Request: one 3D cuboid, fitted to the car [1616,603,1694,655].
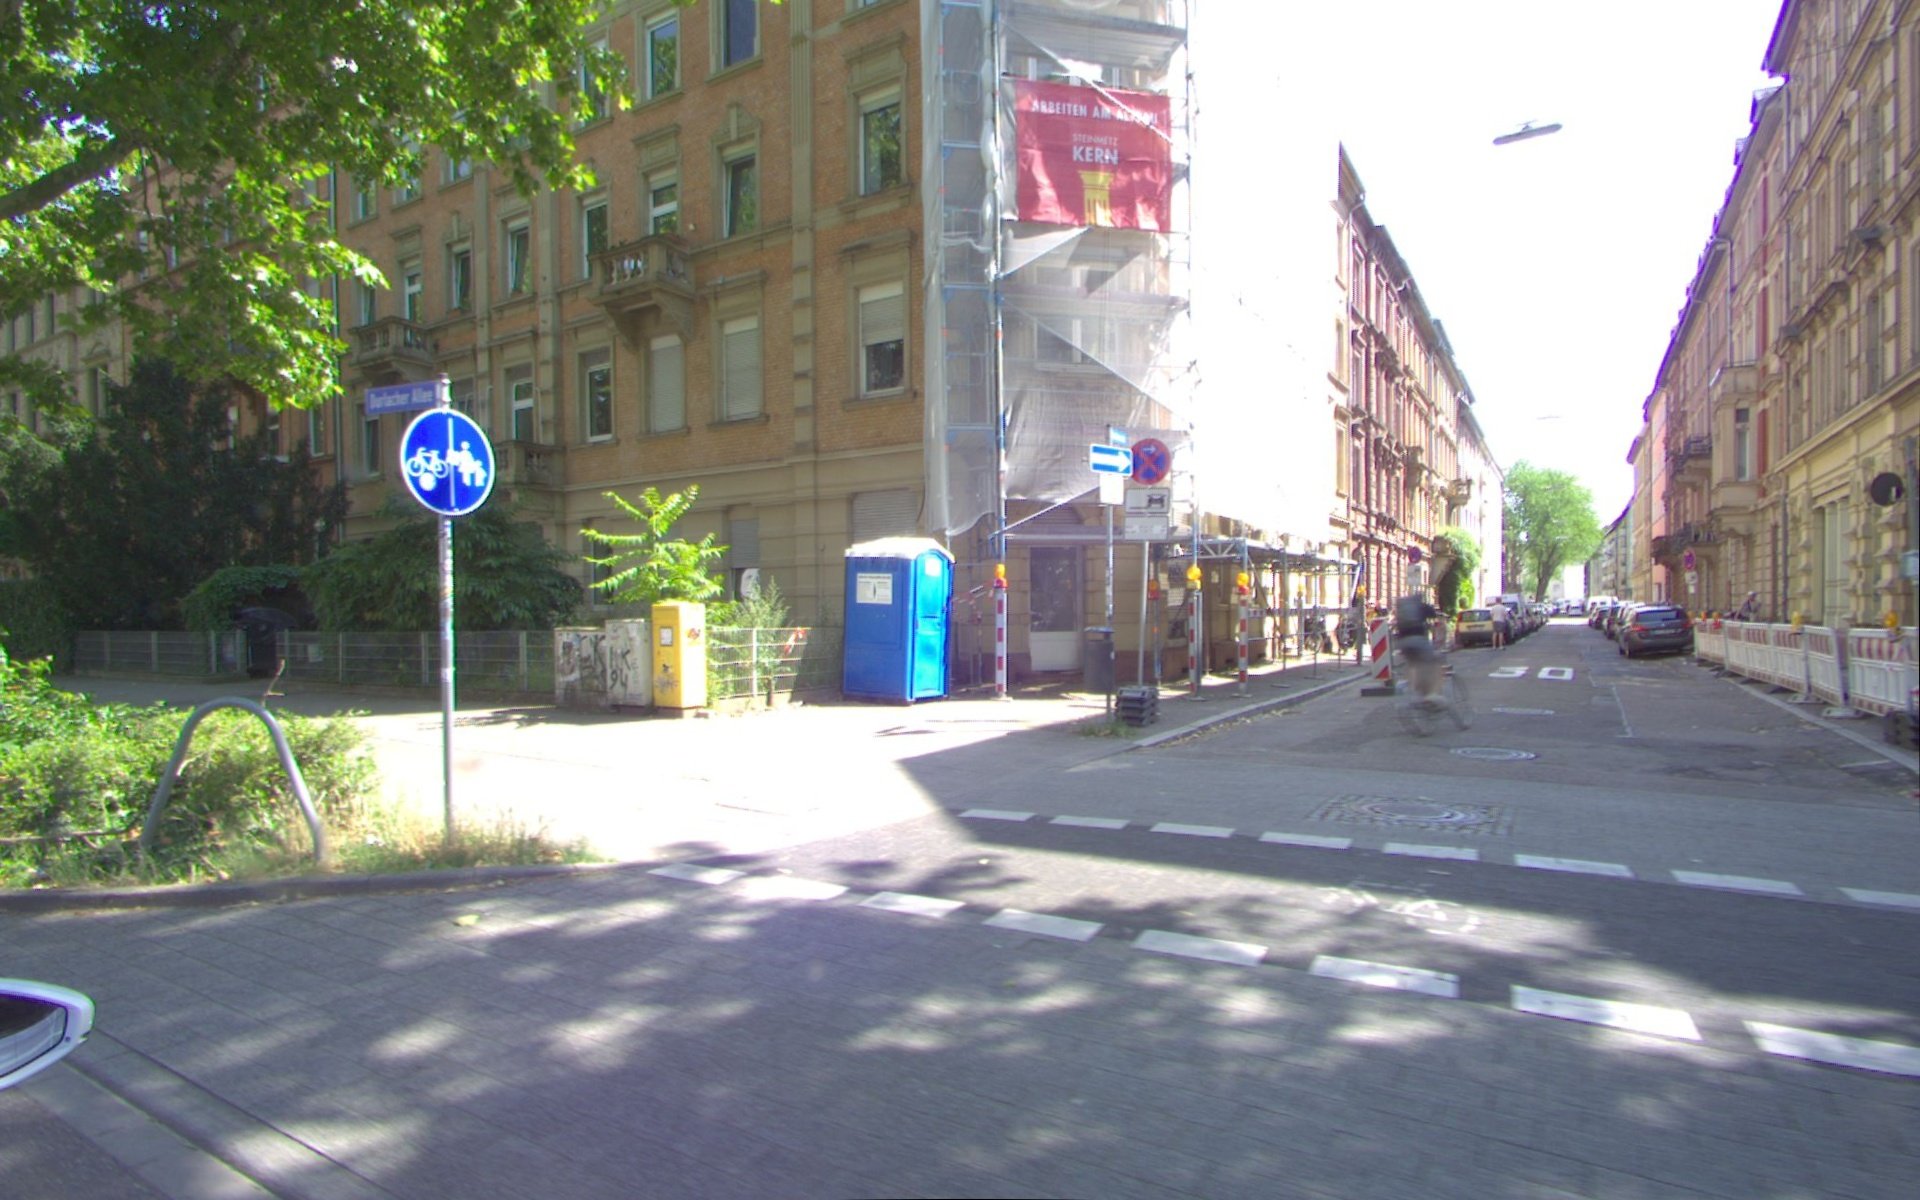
[{"bbox_3d":[23.893,0.957,34.555,1.971,1.661,3.980,-1,0,31],"label":"car"}]

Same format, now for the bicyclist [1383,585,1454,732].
[{"bbox_3d":[5.376,0.664,11.731,0.617,1.644,0.690,0,0,38],"label":"bicyclist"}]

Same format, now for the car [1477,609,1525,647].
[{"bbox_3d":[23.664,1.190,43.763,1.702,1.549,3.478,-1,0,30],"label":"car"}]

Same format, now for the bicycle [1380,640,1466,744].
[{"bbox_3d":[5.463,1.034,11.766,0.526,1.063,1.913,0,0,37],"label":"bicycle"}]

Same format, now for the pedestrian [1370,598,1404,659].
[{"bbox_3d":[12.414,0.821,29.135,0.843,1.748,0.834,-1,0,19],"label":"pedestrian"}]

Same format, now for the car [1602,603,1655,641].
[{"bbox_3d":[32.624,1.044,48.928,1.971,1.762,3.980,-1,0,31],"label":"car"}]

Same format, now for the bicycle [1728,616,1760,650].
[{"bbox_3d":[23.560,0.984,30.100,0.530,0.991,1.304,0,0,28],"label":"bicycle"}]

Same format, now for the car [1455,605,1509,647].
[{"bbox_3d":[20.457,0.990,39.219,1.702,1.549,3.478,-1,0,31],"label":"car"}]

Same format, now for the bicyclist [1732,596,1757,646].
[{"bbox_3d":[23.579,0.624,30.117,0.525,1.472,0.459,0,0,29],"label":"bicyclist"}]

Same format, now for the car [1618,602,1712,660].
[{"bbox_3d":[20.561,0.860,29.335,1.971,1.572,3.980,-1,0,31],"label":"car"}]

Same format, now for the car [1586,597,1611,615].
[{"bbox_3d":[64.392,0.607,101.017,1.971,1.762,3.980,-1,0,31],"label":"car"}]

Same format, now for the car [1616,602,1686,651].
[{"bbox_3d":[26.565,0.984,38.591,1.971,1.762,3.980,-1,0,31],"label":"car"}]

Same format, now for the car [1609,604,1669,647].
[{"bbox_3d":[29.345,1.074,43.382,1.971,1.762,3.980,-1,0,31],"label":"car"}]

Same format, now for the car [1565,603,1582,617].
[{"bbox_3d":[80.494,1.265,131.398,1.971,1.762,3.980,-1,0,31],"label":"car"}]

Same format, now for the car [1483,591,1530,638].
[{"bbox_3d":[29.111,0.769,53.325,1.887,2.405,4.224,0,0,33],"label":"car"}]

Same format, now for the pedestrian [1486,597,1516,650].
[{"bbox_3d":[19.062,0.822,35.283,0.922,1.822,1.034,0,0,29],"label":"pedestrian"}]

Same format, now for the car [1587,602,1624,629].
[{"bbox_3d":[43.895,1.058,68.174,1.971,1.762,3.980,-1,0,31],"label":"car"}]

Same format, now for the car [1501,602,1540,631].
[{"bbox_3d":[35.214,1.015,62.846,1.887,1.732,4.139,-1,0,33],"label":"car"}]

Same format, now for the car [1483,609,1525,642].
[{"bbox_3d":[26.629,1.210,48.945,1.702,1.549,3.478,-1,0,31],"label":"car"}]

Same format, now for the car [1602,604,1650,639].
[{"bbox_3d":[35.526,1.118,53.496,1.971,1.762,3.980,-1,0,31],"label":"car"}]
